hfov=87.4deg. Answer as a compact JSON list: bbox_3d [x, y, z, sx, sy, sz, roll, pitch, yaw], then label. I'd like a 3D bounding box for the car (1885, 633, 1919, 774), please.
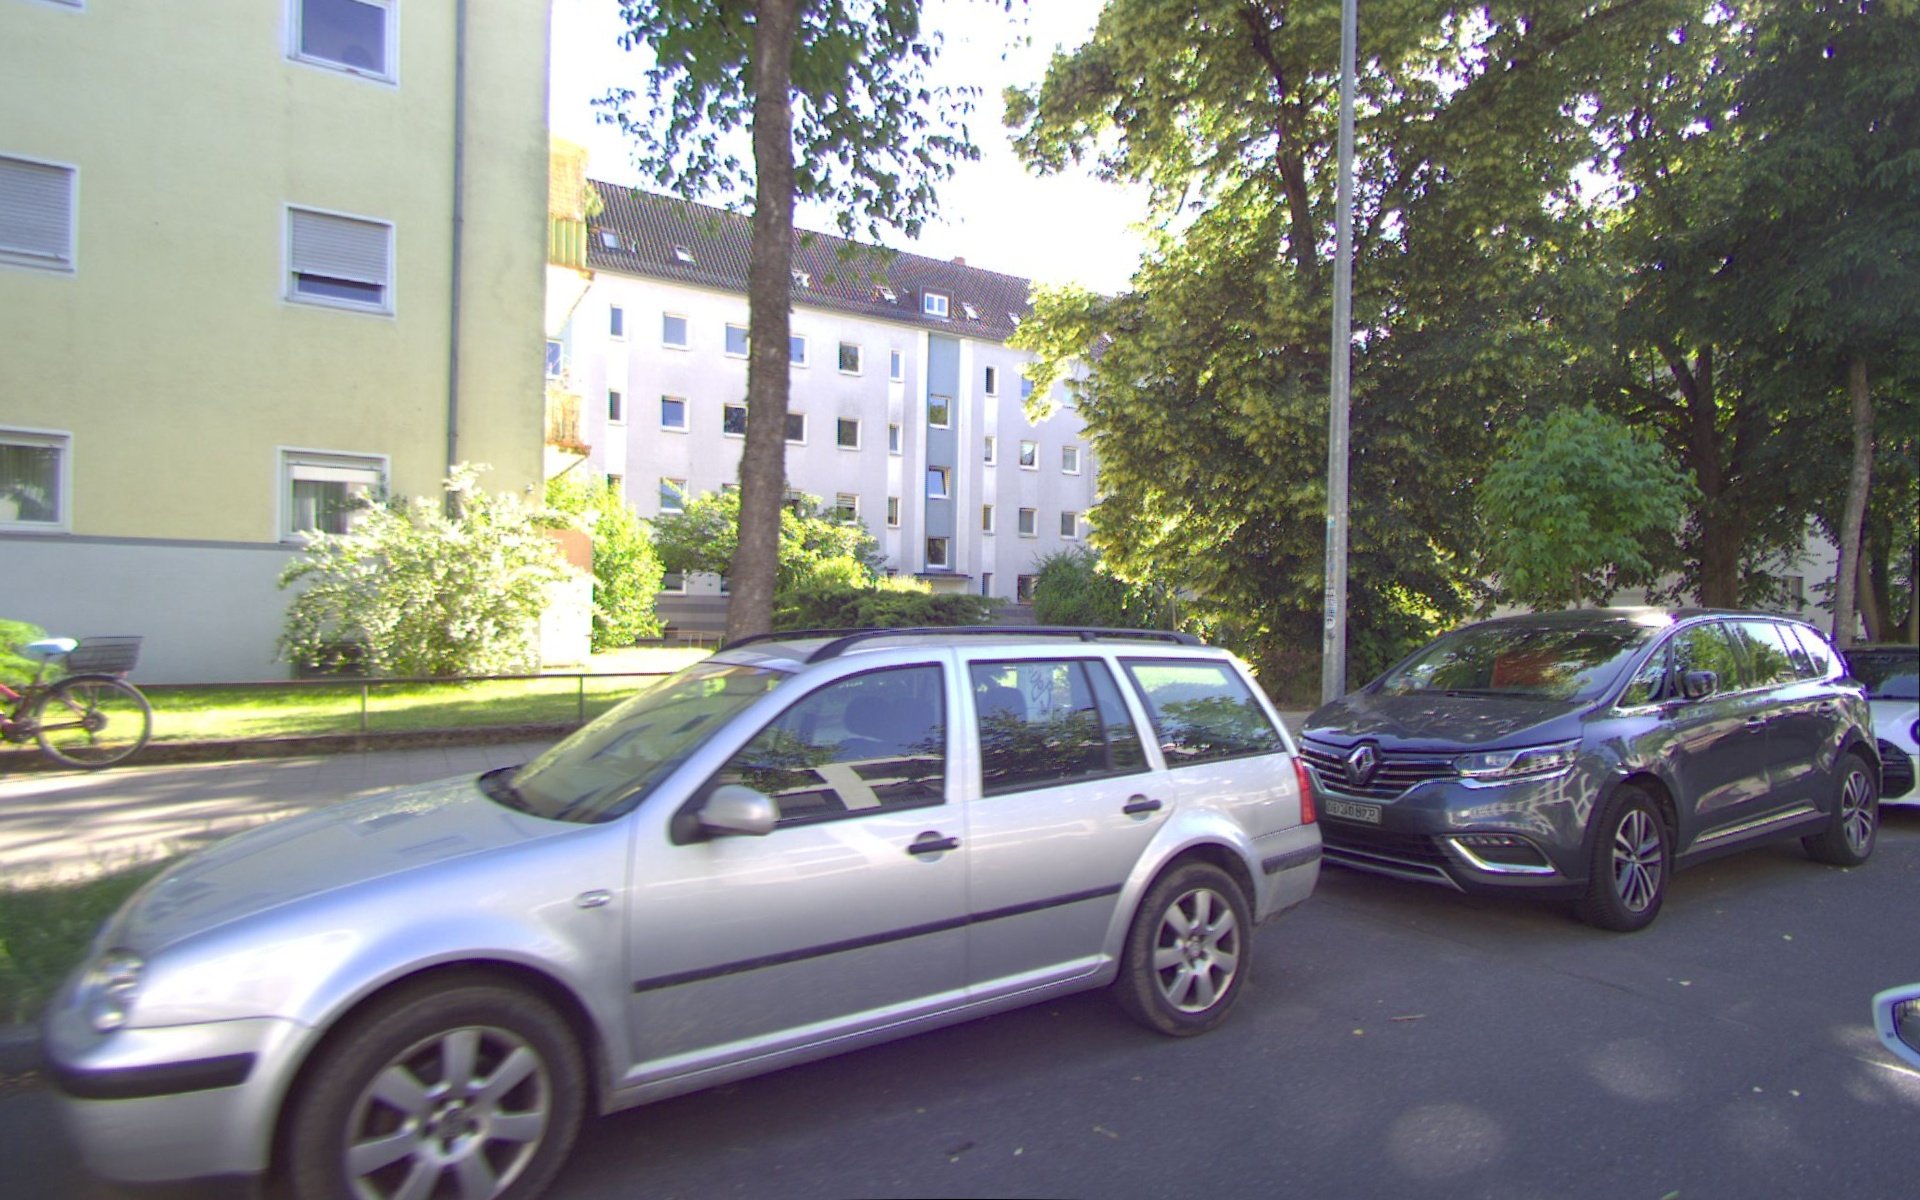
[{"bbox_3d":[12.376,1.158,11.507,4.024,1.524,1.645,1,-2,-32],"label":"car"}]

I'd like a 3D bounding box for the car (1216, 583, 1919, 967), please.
[{"bbox_3d":[4.133,0.836,6.518,5.030,1.678,1.832,1,-2,-31],"label":"car"}]

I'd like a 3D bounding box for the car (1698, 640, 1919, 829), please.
[{"bbox_3d":[8.618,1.076,9.176,4.143,1.391,1.645,1,-2,-32],"label":"car"}]

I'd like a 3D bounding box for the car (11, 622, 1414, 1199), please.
[{"bbox_3d":[-0.370,0.855,3.833,4.440,1.500,1.697,1,-2,-32],"label":"car"}]

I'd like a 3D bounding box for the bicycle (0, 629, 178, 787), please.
[{"bbox_3d":[-6.847,0.752,7.171,1.911,1.075,0.569,2,0,-30],"label":"bicycle"}]
